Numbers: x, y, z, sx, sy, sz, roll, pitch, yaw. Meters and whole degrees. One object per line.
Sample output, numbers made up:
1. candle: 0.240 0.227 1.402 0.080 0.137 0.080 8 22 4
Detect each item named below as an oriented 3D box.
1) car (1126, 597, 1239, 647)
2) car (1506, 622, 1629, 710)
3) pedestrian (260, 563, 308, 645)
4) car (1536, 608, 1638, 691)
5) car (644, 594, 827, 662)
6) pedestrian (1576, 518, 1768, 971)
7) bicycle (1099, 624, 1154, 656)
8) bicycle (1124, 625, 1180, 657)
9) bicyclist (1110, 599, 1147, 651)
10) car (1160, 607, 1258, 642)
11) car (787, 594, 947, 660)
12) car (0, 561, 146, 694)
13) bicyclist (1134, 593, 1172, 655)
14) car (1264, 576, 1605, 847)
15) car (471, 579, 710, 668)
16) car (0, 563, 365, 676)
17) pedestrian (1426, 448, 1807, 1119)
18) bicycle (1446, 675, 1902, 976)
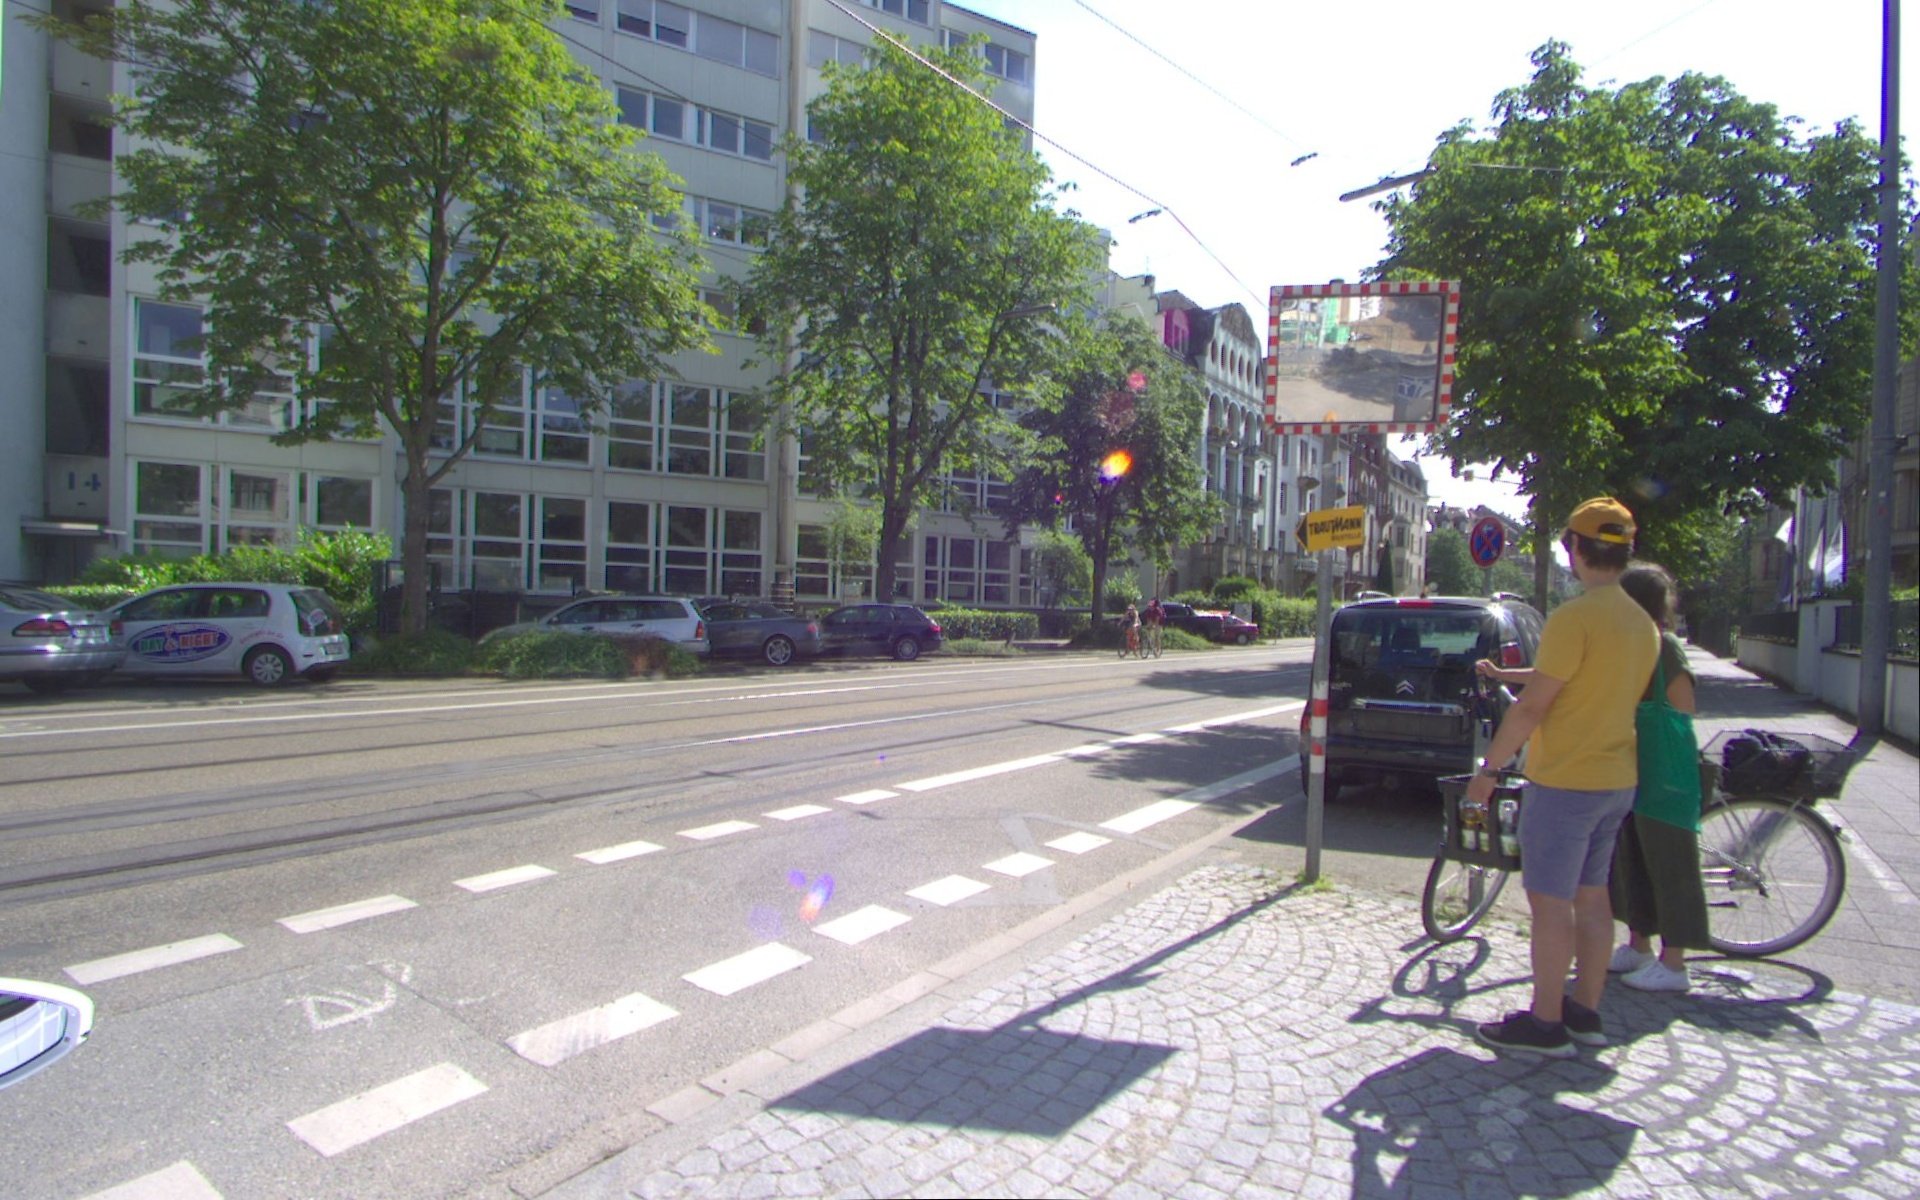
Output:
1. car: 8.938 0.865 40.330 3.930 1.884 1.996 2 0 -17
2. car: 11.872 1.185 19.458 1.831 1.430 3.977 2 0 34
3. pedestrian: -12.414 0.076 18.387 0.419 1.480 0.617 3 1 39
4. car: 14.768 1.088 23.505 1.831 1.702 3.977 2 0 34
5. car: -4.997 0.621 22.575 3.871 1.375 1.557 2 1 -10
6. pedestrian: 2.742 0.522 3.893 0.445 1.643 0.421 2 1 18
7. bicycle: 5.235 1.232 31.315 0.671 0.929 2.304 2 0 38
8. bicycle: 5.898 1.243 30.640 0.671 0.929 2.304 2 0 38
9. bicyclist: 5.283 0.779 31.318 0.794 1.563 0.858 2 1 38
10. car: 11.598 1.133 46.763 3.925 1.528 1.998 1 0 -10
11. car: -2.391 0.668 25.289 3.871 1.506 1.557 2 1 -10
12. car: -12.479 0.264 12.047 3.870 1.506 1.612 2 1 -8
13. bicyclist: 5.896 0.722 30.565 0.794 1.825 0.858 2 1 38
14. car: 4.197 0.722 8.491 1.832 1.706 3.974 2 0 37
15. car: -7.228 0.468 19.986 4.265 1.625 1.556 1 0 -13
16. car: -11.051 0.275 14.491 3.870 1.506 1.611 1 1 -9
17. pedestrian: 2.088 0.512 3.345 0.839 1.890 0.828 2 1 20
18. bicycle: 2.917 0.893 4.221 1.485 1.055 0.363 2 1 18
